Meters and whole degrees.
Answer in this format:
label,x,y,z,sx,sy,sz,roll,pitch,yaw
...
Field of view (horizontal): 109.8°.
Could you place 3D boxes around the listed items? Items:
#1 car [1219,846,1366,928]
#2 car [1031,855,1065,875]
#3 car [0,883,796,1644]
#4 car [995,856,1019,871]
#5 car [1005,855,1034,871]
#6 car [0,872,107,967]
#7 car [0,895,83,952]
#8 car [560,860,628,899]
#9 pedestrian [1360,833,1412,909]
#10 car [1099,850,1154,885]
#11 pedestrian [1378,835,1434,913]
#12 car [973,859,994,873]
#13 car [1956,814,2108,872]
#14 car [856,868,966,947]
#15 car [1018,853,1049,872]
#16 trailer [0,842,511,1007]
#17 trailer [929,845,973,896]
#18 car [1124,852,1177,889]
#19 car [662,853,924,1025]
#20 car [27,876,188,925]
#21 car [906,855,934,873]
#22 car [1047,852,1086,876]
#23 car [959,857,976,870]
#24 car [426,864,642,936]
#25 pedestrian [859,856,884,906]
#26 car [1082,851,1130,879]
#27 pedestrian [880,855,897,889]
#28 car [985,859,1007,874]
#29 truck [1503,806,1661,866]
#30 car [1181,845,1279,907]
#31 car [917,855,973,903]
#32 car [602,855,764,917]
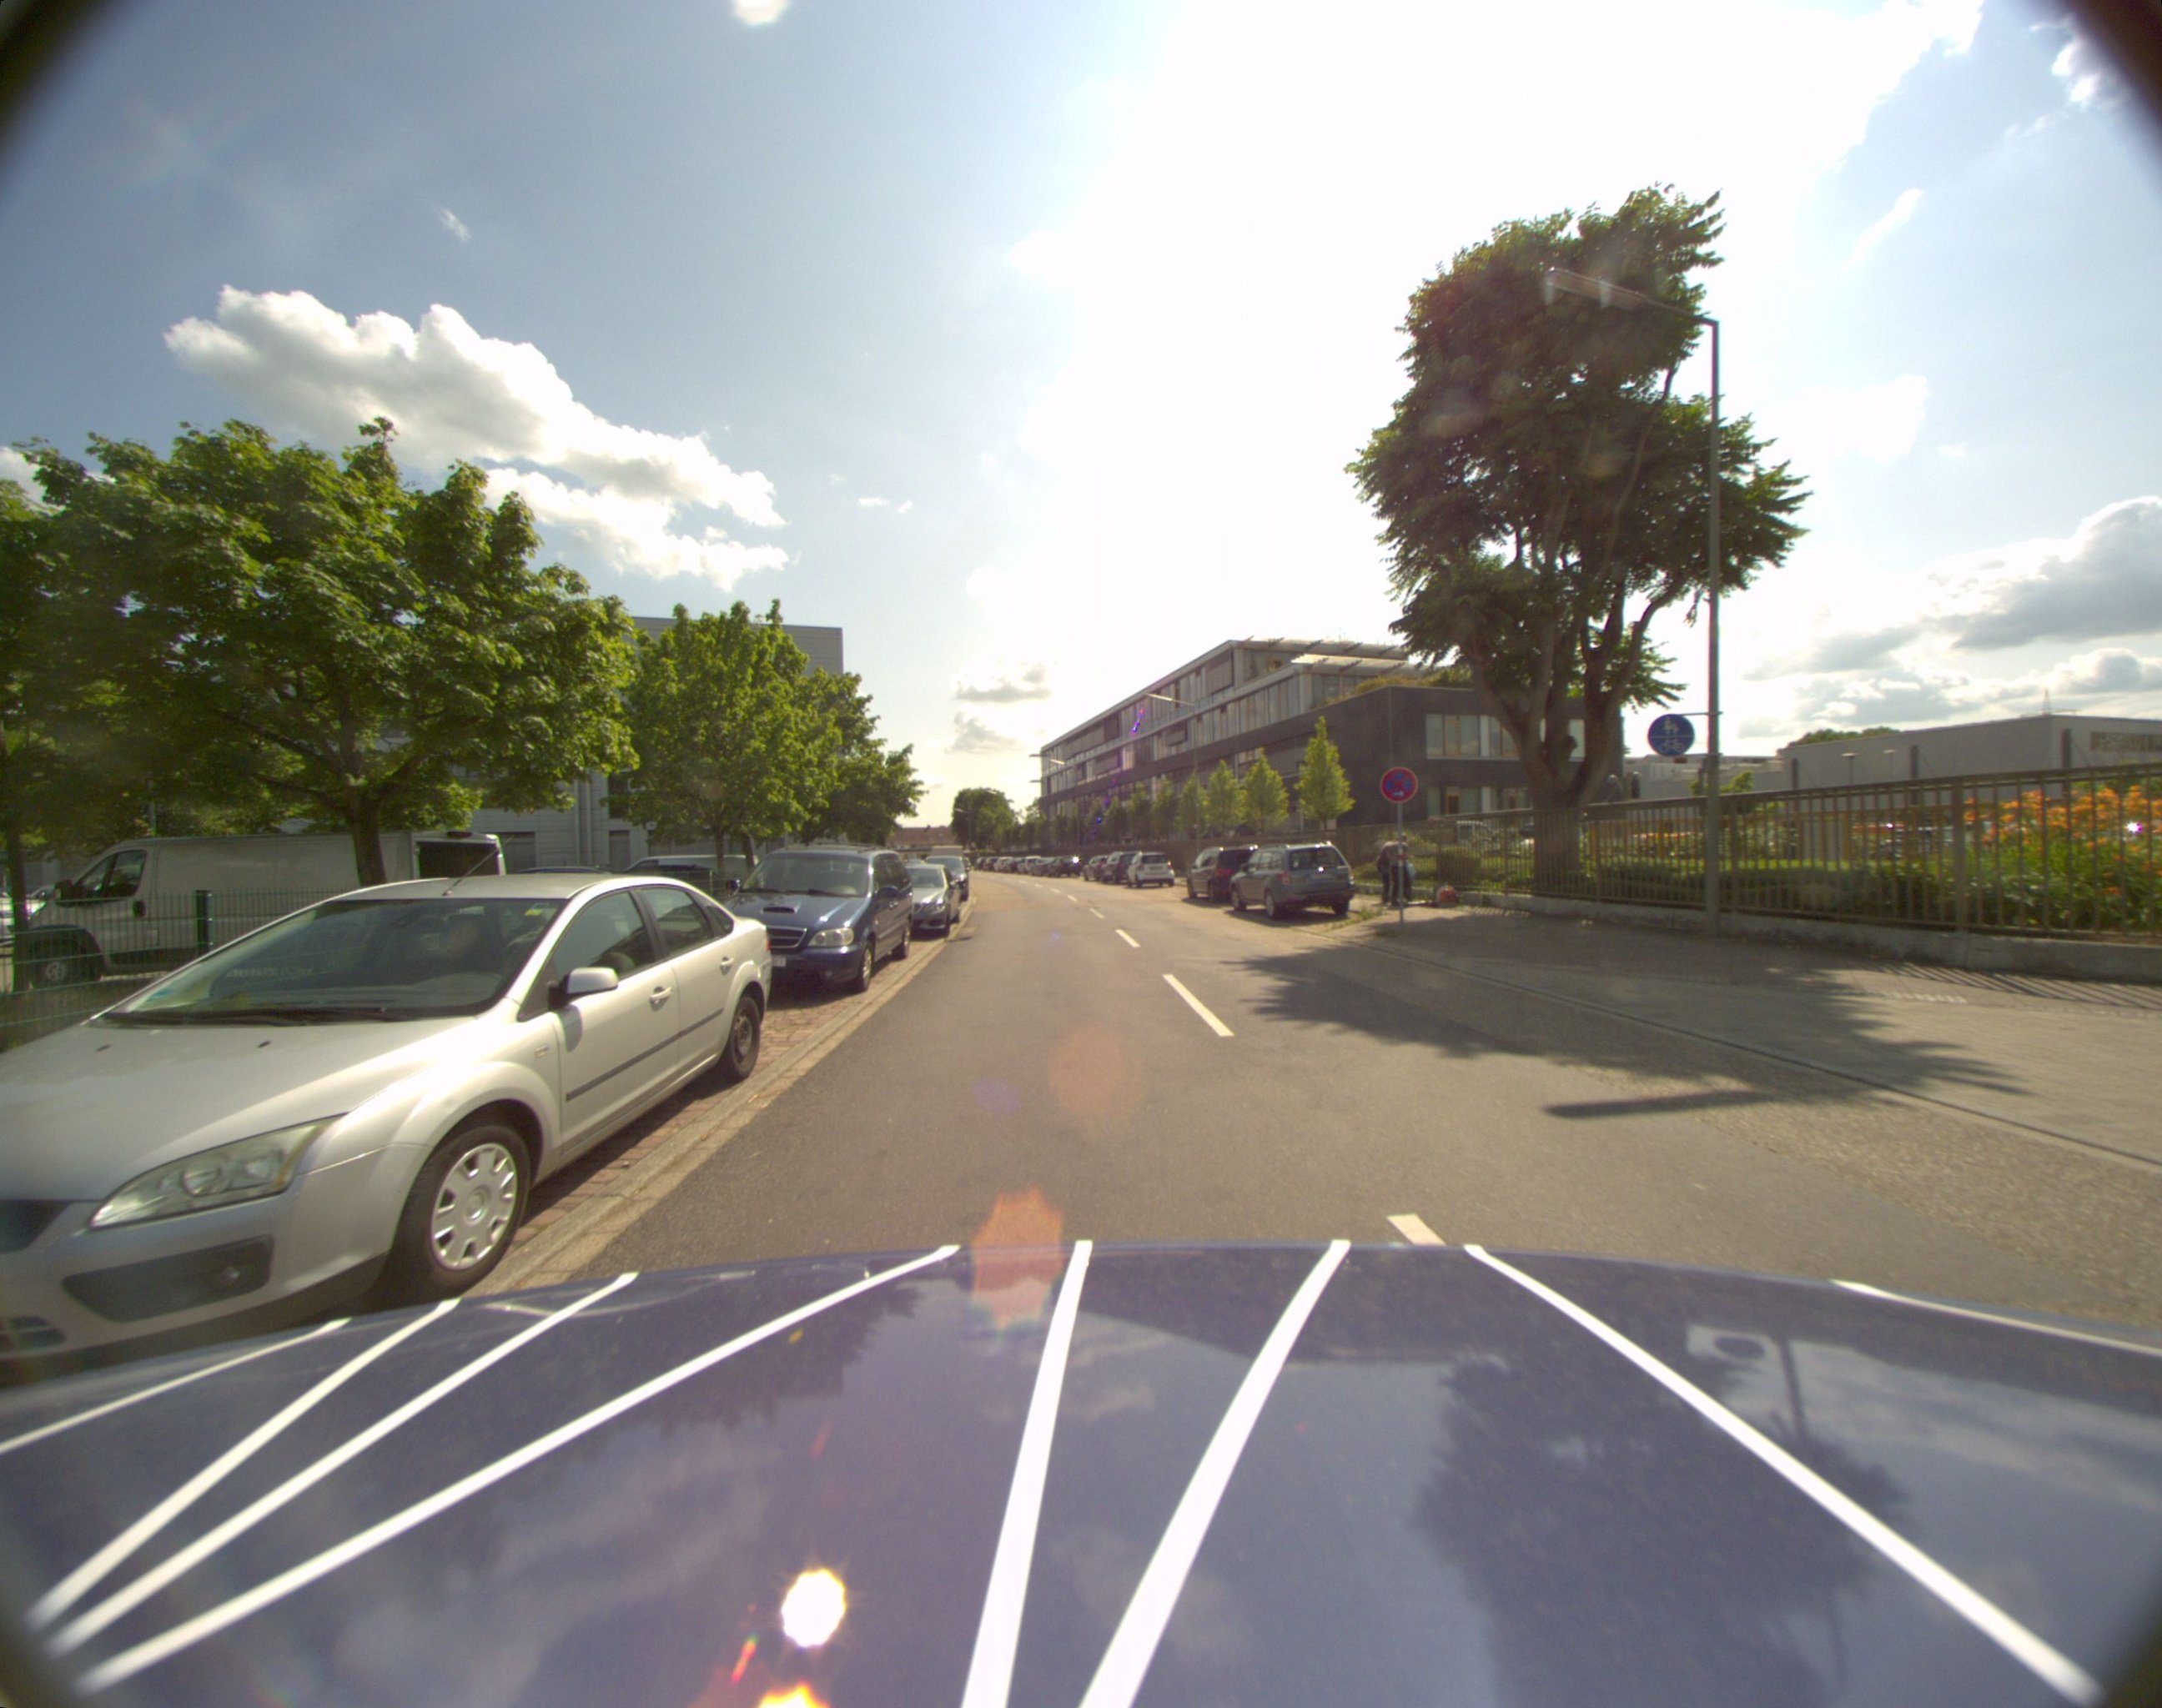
label,x,y,z,sx,sy,sz,roll,pitch,yaw
car,4.926,0.695,18.466,1.804,1.641,4.687,-3,0,-6
car,-2.585,0.800,59.100,1.668,1.389,4.099,-3,1,-16
car,-3.172,0.999,3.954,1.837,1.484,4.654,0,0,-3
car,-7.220,0.913,73.944,1.569,1.446,3.738,-1,0,-17
car,-5.648,0.798,69.279,1.673,1.396,3.994,-3,0,-18
car,-22.747,1.308,14.755,4.864,1.756,1.914,-1,0,-4
car,-29.699,1.903,20.084,3.998,1.366,1.837,-2,1,-3
car,-22.838,1.149,35.765,1.829,1.638,3.331,-3,1,-18
pedestrian,7.392,0.398,18.452,0.830,1.751,0.845,-3,1,1
car,2.267,0.648,38.909,1.739,1.646,4.306,-2,0,-11
pedestrian,7.398,0.440,17.342,0.844,1.682,0.831,-3,1,1
car,-10.880,1.325,84.567,1.569,1.506,4.030,-1,0,-17
car,31.706,-0.366,25.343,4.002,1.679,1.745,-3,1,-16
car,-3.698,1.088,17.308,1.847,1.452,4.866,0,0,-5
car,-4.076,0.752,64.330,1.668,1.473,3.511,-3,1,-19
trailer,-11.916,0.934,11.339,5.062,2.070,2.060,-2,1,-5
trailer,-5.646,0.677,33.130,1.751,2.055,3.944,1,0,-9
car,3.084,0.711,34.304,1.614,1.514,3.072,-2,0,-9
car,-3.480,0.870,10.361,1.855,1.755,5.075,0,0,-3
car,-38.631,1.799,30.326,1.958,1.539,3.993,-3,2,-18
car,-14.171,0.850,66.856,1.816,1.495,3.993,2,-1,-20
car,-1.084,0.706,53.996,1.668,1.521,3.995,-3,0,-16
car,-15.053,1.238,100.664,1.679,1.507,3.737,-1,1,-17
car,-14.770,1.200,20.759,4.339,1.586,1.855,-3,1,-8
pedestrian,-7.174,0.929,26.013,0.723,1.683,0.739,1,0,-8
car,1.384,0.637,43.955,1.740,1.437,3.926,-3,1,-13
pedestrian,-9.598,0.891,37.939,0.729,1.637,0.579,3,-1,-10
car,-8.873,1.255,79.459,1.569,1.506,3.738,-1,0,-17
truck,24.137,-0.875,36.624,6.939,2.642,2.401,-2,0,-17
car,4.559,0.636,23.873,1.781,1.672,4.228,-3,1,-6
car,-5.065,0.885,28.822,1.867,1.673,4.707,0,0,-7
car,-13.579,1.067,26.178,4.482,1.954,1.999,-1,-1,-8
